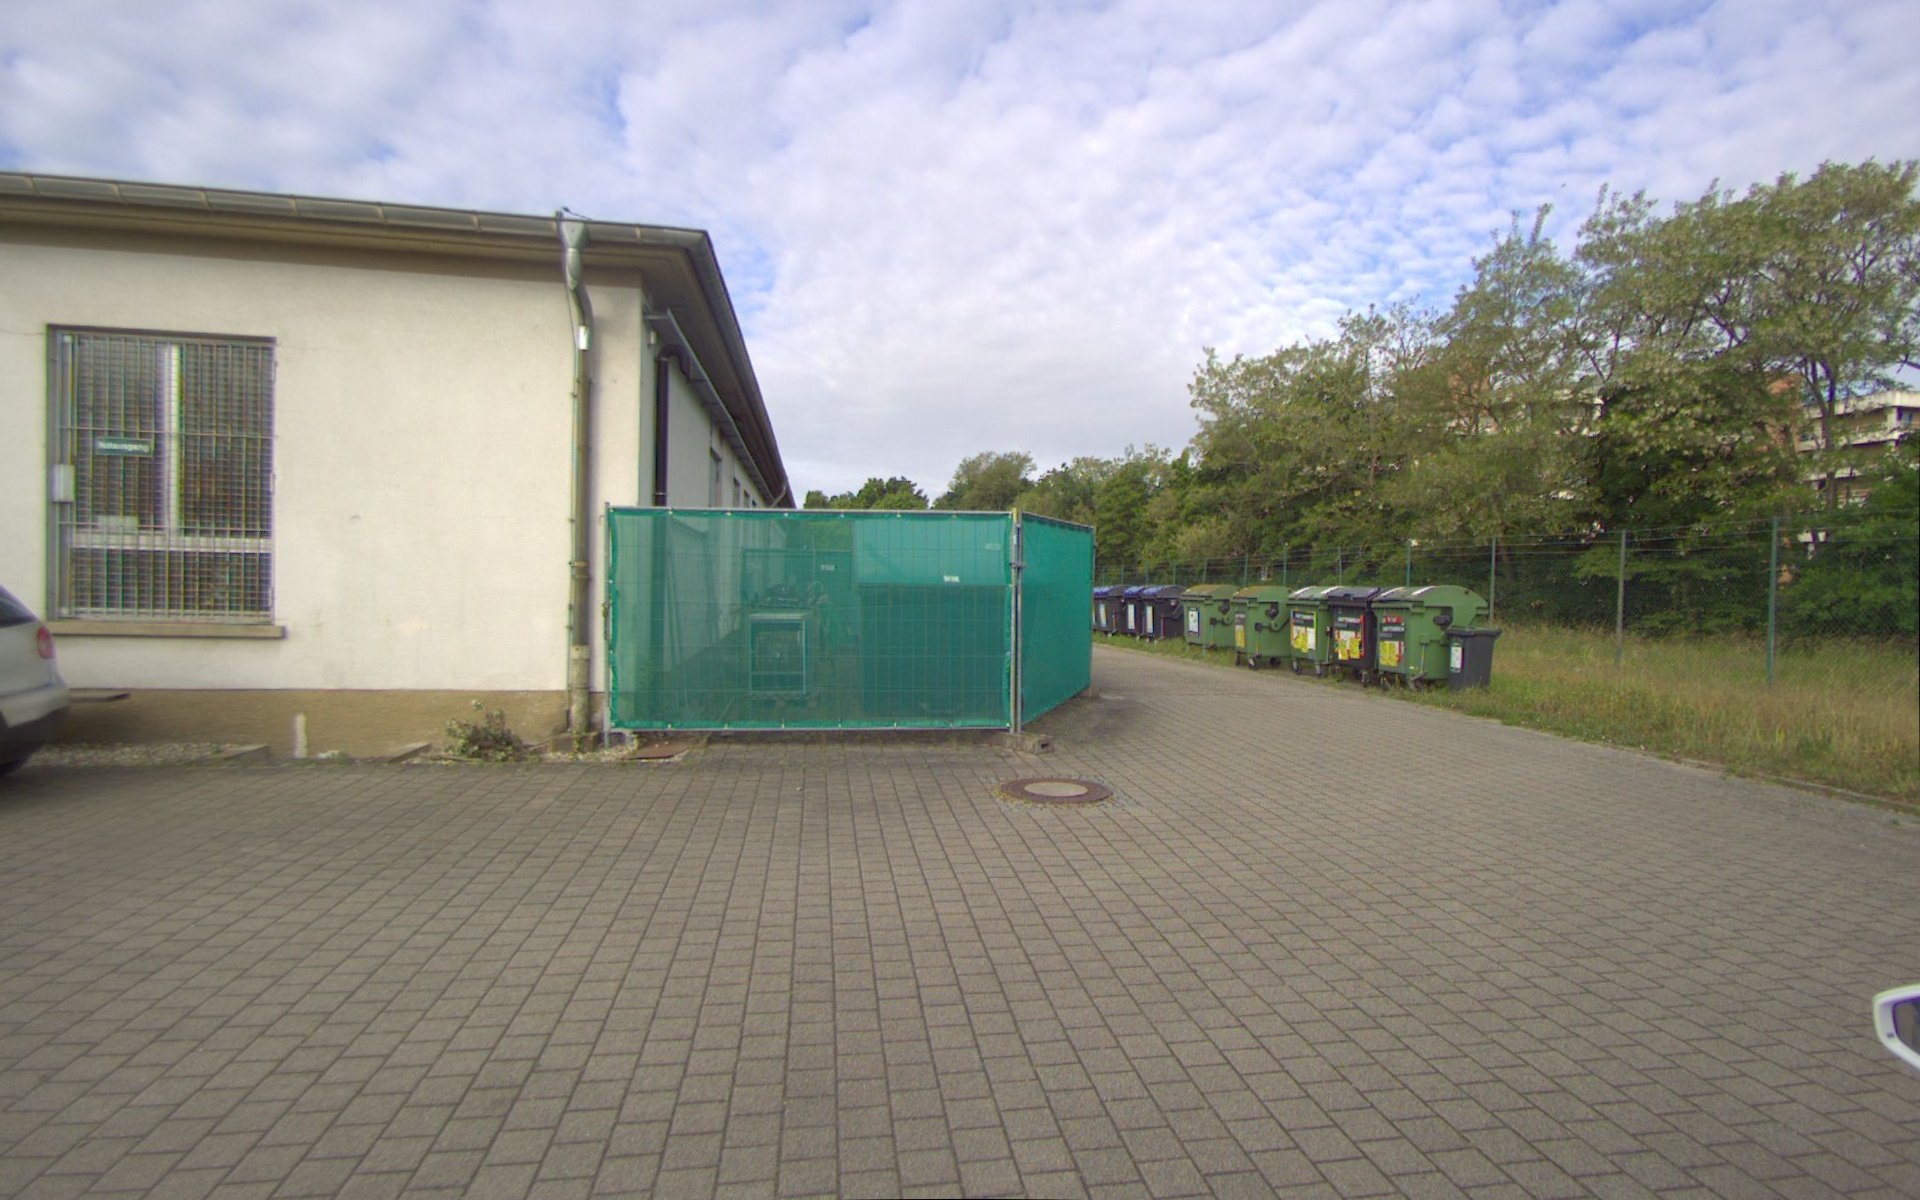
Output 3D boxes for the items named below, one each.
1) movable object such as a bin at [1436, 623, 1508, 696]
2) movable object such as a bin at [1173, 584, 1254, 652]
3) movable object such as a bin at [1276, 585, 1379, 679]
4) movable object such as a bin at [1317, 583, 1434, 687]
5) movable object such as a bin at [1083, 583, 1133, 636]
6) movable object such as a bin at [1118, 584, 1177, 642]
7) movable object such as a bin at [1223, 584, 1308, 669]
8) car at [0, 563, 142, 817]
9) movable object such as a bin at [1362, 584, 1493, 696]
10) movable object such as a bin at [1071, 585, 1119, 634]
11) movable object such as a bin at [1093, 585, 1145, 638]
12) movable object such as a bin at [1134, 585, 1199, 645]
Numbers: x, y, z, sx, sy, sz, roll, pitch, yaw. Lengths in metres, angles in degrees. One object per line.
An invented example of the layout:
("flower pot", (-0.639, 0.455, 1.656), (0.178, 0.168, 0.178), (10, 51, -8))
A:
("movable object such as a bin", (6.426, 0.737, 12.628), (0.590, 0.877, 0.586), (1, 0, 0))
("movable object such as a bin", (5.109, 0.351, 20.345), (1.106, 1.313, 1.377), (1, 0, -9))
("movable object such as a bin", (5.913, 0.499, 16.245), (1.052, 1.424, 1.384), (1, 0, -5))
("movable object such as a bin", (6.136, 0.493, 14.932), (1.052, 1.454, 1.397), (1, 0, -5))
("movable object such as a bin", (4.097, 0.266, 27.859), (1.104, 1.398, 1.324), (1, 0, -3))
("movable object such as a bin", (4.669, 0.311, 25.111), (1.104, 1.392, 1.493), (1, 0, -3))
("movable object such as a bin", (5.376, 0.458, 17.768), (1.104, 1.417, 1.385), (1, 0, 2))
("car", (-7.668, 0.478, 5.701), (4.287, 1.458, 1.928), (1, 1, -8))
("movable object such as a bin", (6.278, 0.518, 13.584), (1.109, 1.414, 1.356), (1, 0, 0))
("movable object such as a bin", (3.917, 0.269, 29.273), (1.104, 1.368, 1.425), (1, 0, -3))
("movable object such as a bin", (4.196, 0.288, 26.560), (1.104, 1.339, 1.324), (1, 1, -2))
("movable object such as a bin", (4.808, 0.339, 23.536), (1.135, 1.343, 1.493), (1, 0, -3))
